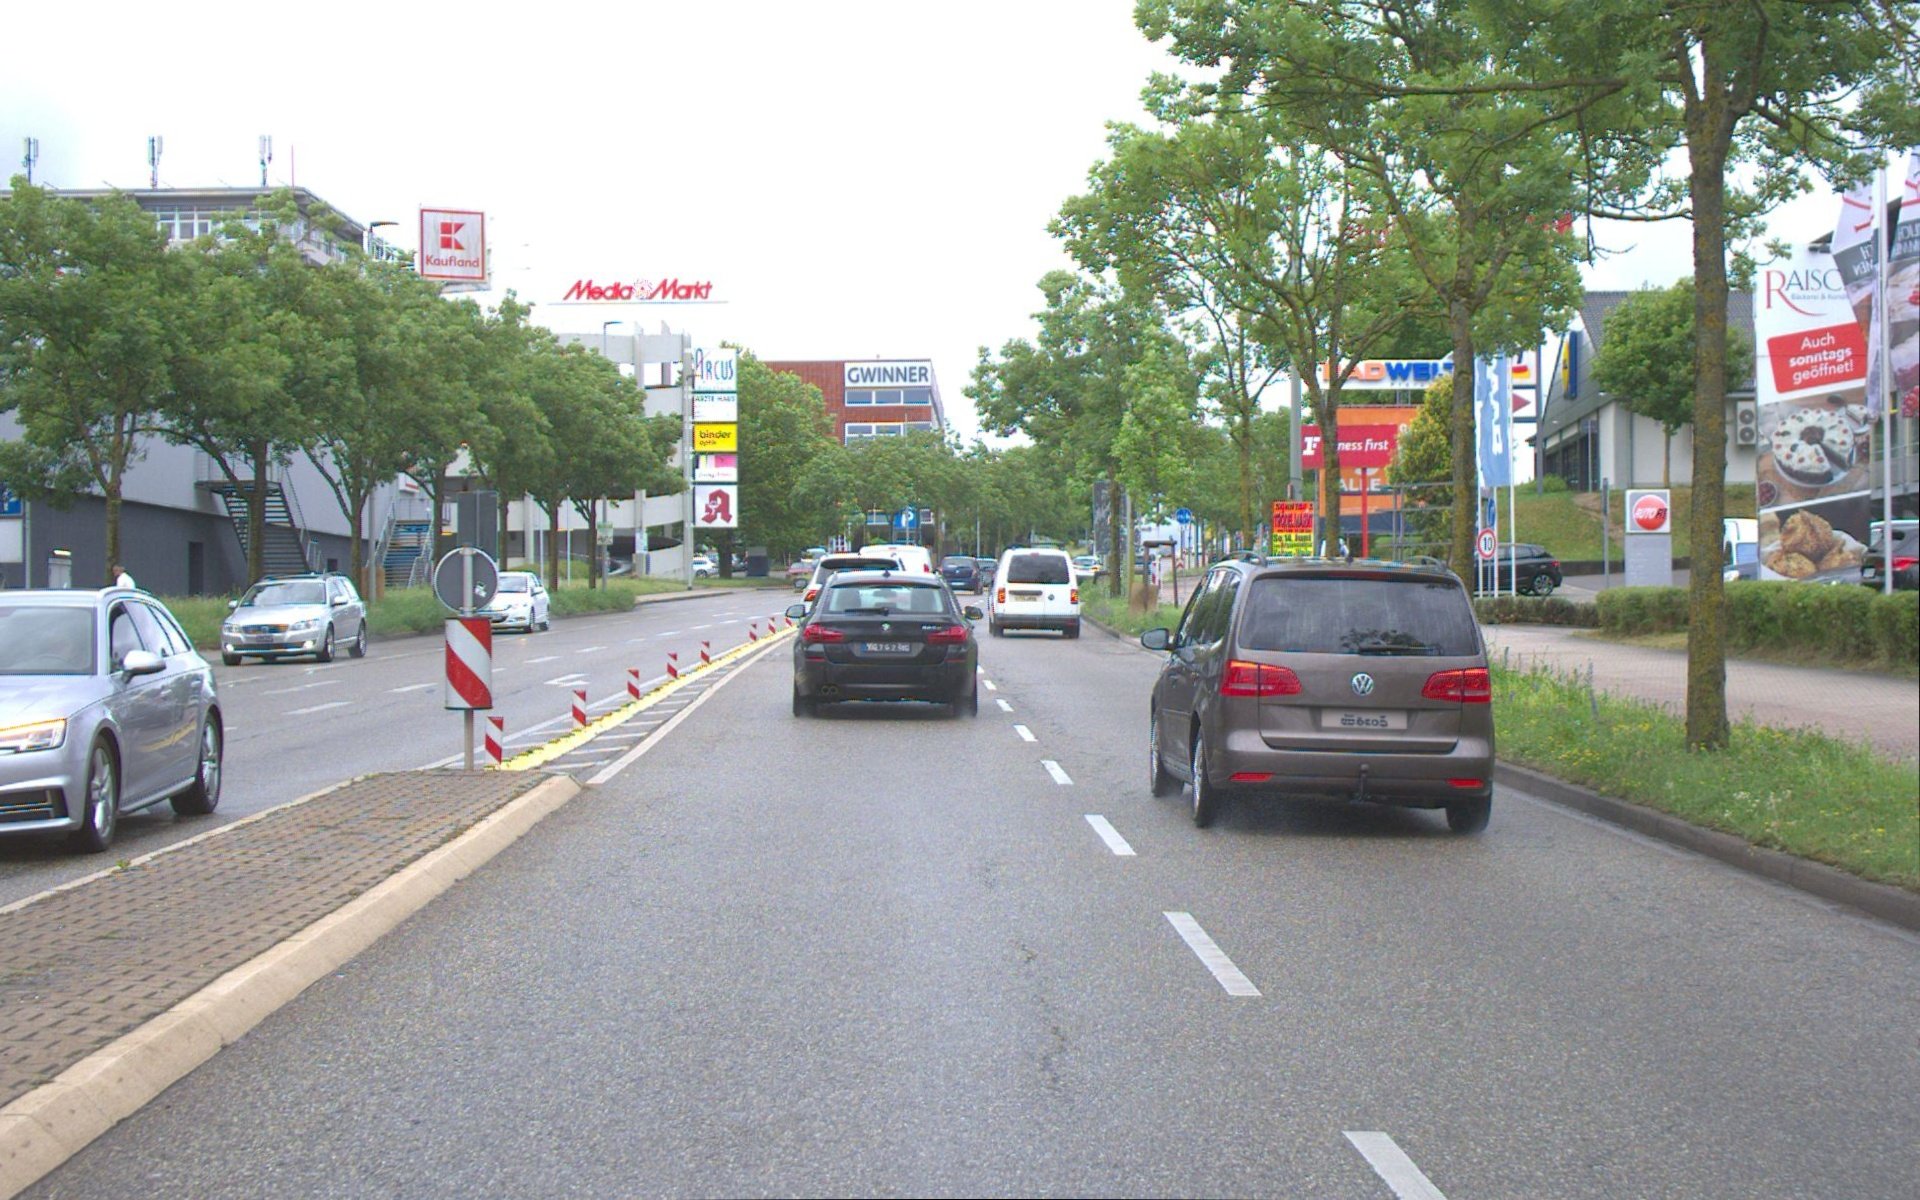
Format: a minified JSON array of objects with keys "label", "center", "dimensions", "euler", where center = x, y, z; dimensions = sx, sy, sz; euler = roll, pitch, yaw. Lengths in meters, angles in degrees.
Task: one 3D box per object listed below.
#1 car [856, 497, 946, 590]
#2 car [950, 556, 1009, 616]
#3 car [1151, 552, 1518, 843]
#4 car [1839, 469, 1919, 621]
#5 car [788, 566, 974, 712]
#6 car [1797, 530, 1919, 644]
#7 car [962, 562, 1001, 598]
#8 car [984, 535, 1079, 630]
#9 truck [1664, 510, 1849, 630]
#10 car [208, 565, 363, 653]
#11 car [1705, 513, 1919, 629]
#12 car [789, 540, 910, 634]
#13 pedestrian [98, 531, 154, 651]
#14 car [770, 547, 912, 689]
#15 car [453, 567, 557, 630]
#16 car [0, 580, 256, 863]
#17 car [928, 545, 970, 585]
[{"label":"car","center":[-1.360,-1.297,80.585],"dimensions":[1.993,2.007,4.000],"euler":[1,-1,0]},{"label":"car","center":[0.579,-0.408,101.317],"dimensions":[1.685,1.678,3.402],"euler":[1,-1,1]},{"label":"car","center":[2.224,0.534,21.499],"dimensions":[1.801,1.581,4.450],"euler":[2,0,0]},{"label":"car","center":[13.520,-0.718,43.922],"dimensions":[4.111,1.898,1.799],"euler":[-1,0,2]},{"label":"car","center":[-0.780,0.378,35.172],"dimensions":[1.781,1.393,4.000],"euler":[1,0,-1]},{"label":"car","center":[13.655,-0.187,46.949],"dimensions":[4.111,1.531,1.799],"euler":[0,1,6]},{"label":"car","center":[0.946,-0.888,154.173],"dimensions":[1.619,1.490,3.360],"euler":[1,-1,-1]},{"label":"car","center":[1.434,-0.354,70.060],"dimensions":[1.782,1.860,4.000],"euler":[-1,0,-1]},{"label":"truck","center":[16.523,-0.578,71.609],"dimensions":[2.442,2.340,5.459],"euler":[1,-1,-1]},{"label":"car","center":[-11.621,0.141,59.441],"dimensions":[1.943,1.448,4.000],"euler":[0,0,-1]},{"label":"car","center":[13.288,-0.430,51.156],"dimensions":[4.111,1.698,1.799],"euler":[0,1,6]},{"label":"car","center":[-1.690,-0.197,53.691],"dimensions":[1.781,1.393,4.000],"euler":[1,0,-1]},{"label":"pedestrian","center":[-15.444,-0.172,63.659],"dimensions":[0.858,2.210,0.846],"euler":[0,0,-3]},{"label":"car","center":[-1.543,0.227,45.859],"dimensions":[1.781,1.787,4.000],"euler":[1,0,-1]},{"label":"car","center":[-10.603,-0.041,80.358],"dimensions":[1.943,1.443,4.000],"euler":[0,0,-1]},{"label":"car","center":[-5.346,0.635,19.494],"dimensions":[1.723,1.393,4.789],"euler":[-3,0,-1]},{"label":"car","center":[-0.440,-1.389,137.781],"dimensions":[1.594,1.469,3.444],"euler":[1,-1,-1]}]
